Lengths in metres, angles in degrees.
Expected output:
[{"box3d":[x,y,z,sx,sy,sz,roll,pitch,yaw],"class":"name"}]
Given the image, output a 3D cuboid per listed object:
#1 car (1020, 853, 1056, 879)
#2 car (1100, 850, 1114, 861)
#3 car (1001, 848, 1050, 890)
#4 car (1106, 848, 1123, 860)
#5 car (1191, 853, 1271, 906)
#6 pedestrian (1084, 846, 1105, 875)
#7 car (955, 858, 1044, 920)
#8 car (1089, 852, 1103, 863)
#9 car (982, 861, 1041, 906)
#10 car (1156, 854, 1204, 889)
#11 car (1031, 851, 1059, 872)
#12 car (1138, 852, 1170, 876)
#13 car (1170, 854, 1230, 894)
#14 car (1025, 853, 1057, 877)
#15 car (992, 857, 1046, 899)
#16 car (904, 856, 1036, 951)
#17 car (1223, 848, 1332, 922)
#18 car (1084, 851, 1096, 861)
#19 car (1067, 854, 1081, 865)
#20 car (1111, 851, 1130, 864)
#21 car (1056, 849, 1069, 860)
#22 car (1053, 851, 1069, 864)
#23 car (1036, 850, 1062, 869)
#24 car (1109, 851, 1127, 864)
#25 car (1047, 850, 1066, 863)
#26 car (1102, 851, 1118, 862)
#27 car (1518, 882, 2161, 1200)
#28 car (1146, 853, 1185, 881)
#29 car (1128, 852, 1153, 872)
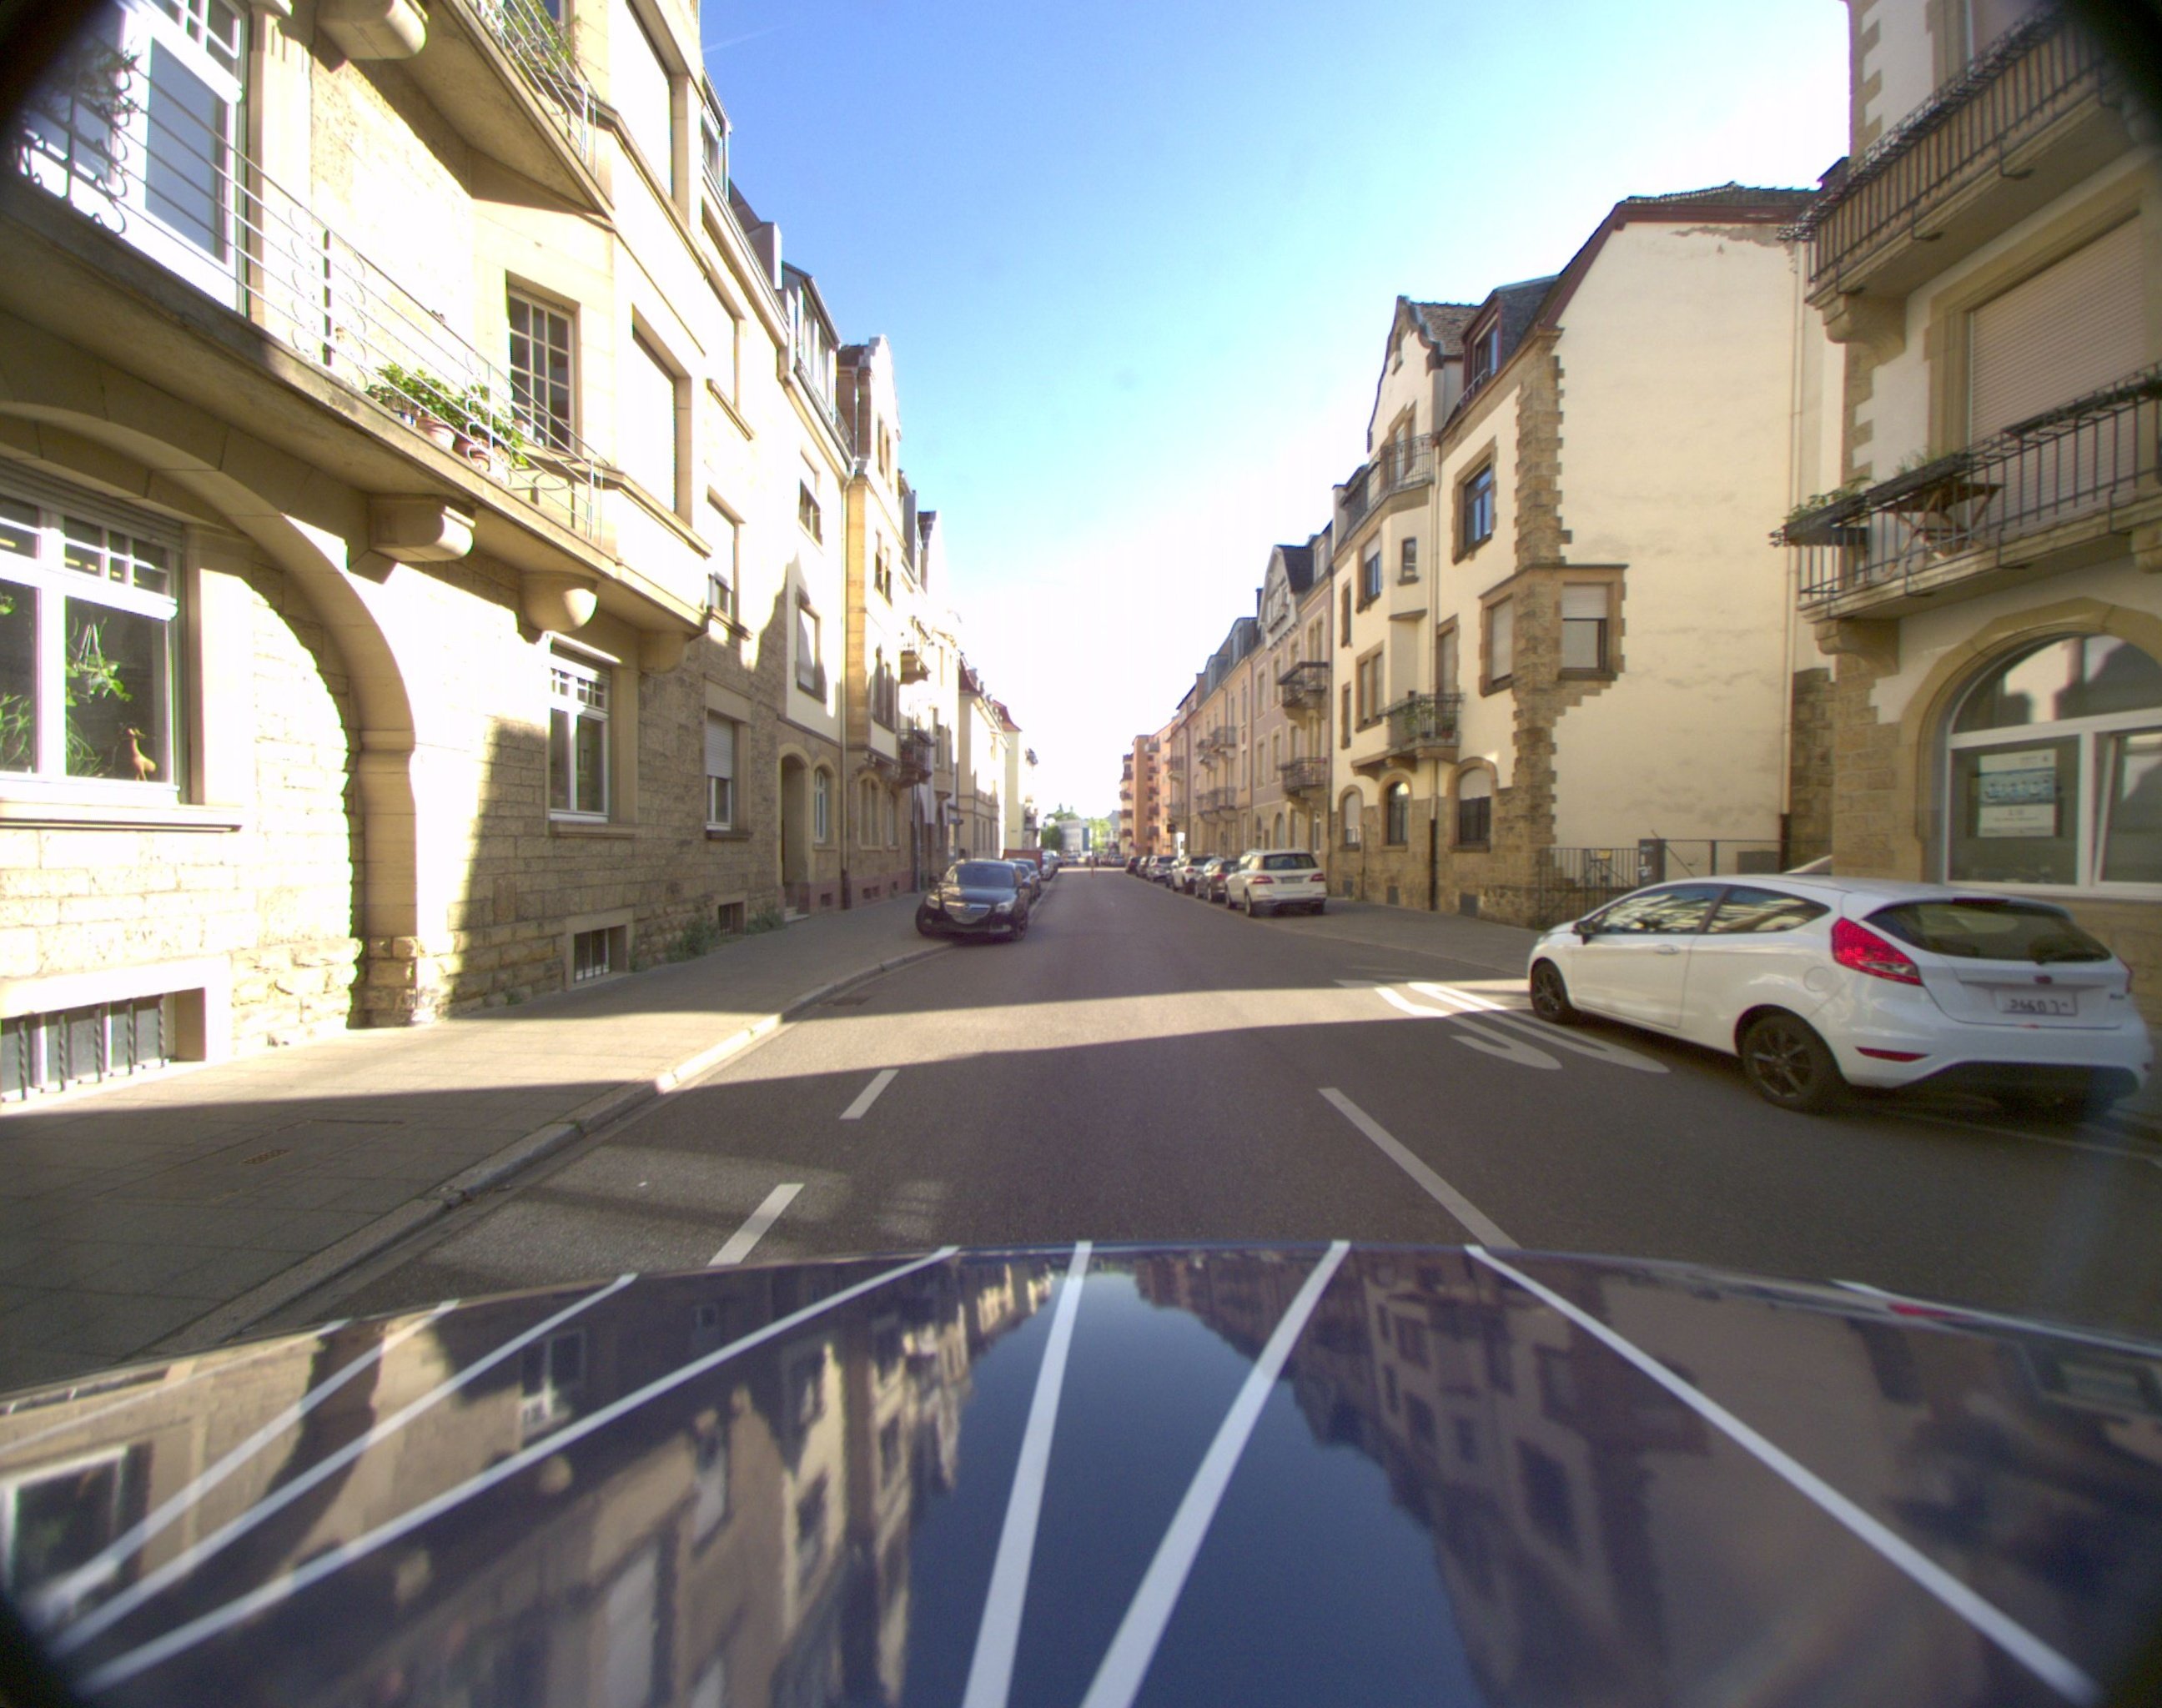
[{"box3d":[-2.653,0.719,47.852,2.005,1.500,4.320,1,1,-1],"class":"car"},{"box3d":[3.959,0.190,116.744,2.005,1.500,4.320,1,1,-1],"class":"car"},{"box3d":[-2.560,0.652,35.794,2.005,1.828,4.320,1,1,-1],"class":"car"},{"box3d":[4.518,0.005,101.942,2.005,1.500,4.320,1,1,-1],"class":"car"},{"box3d":[5.122,0.821,26.530,1.890,1.500,4.320,-4,1,1],"class":"car"},{"box3d":[0.948,0.466,53.547,0.950,2.002,1.068,-1,1,40],"class":"pedestrian"},{"box3d":[-2.098,0.875,20.784,2.005,1.499,4.321,1,0,-1],"class":"car"},{"box3d":[1.898,0.445,96.966,1.656,1.449,3.642,0,1,-1],"class":"car"},{"box3d":[-2.234,0.928,25.363,1.661,1.272,3.729,1,1,-1],"class":"car"},{"box3d":[4.855,0.818,37.791,1.857,1.491,4.318,-2,1,1],"class":"car"},{"box3d":[-2.745,0.538,58.651,2.005,1.500,4.320,1,1,-1],"class":"car"},{"box3d":[4.991,0.669,52.335,1.809,1.500,4.003,-2,1,1],"class":"car"},{"box3d":[4.984,0.795,32.351,1.890,1.500,4.320,-2,1,1],"class":"car"},{"box3d":[-2.749,0.739,52.626,2.005,1.500,4.320,1,1,-1],"class":"car"},{"box3d":[-2.385,0.892,30.105,1.824,1.415,4.320,1,1,-1],"class":"car"},{"box3d":[-2.037,0.867,15.203,2.024,1.500,4.111,2,1,-1],"class":"car"},{"box3d":[5.195,0.752,20.693,1.890,1.717,4.211,-2,1,1],"class":"car"},{"box3d":[1.295,0.323,113.048,1.656,1.449,3.642,0,1,-1],"class":"car"},{"box3d":[-0.998,0.836,110.987,2.005,1.500,4.320,1,1,-1],"class":"car"},{"box3d":[4.673,0.410,91.376,2.005,1.500,4.320,1,1,-1],"class":"car"},{"box3d":[-2.941,0.072,123.321,2.005,1.722,4.320,1,1,-1],"class":"car"},{"box3d":[-2.583,0.434,99.937,2.005,1.500,4.320,1,1,-1],"class":"car"},{"box3d":[-2.672,0.454,64.484,2.005,1.500,4.320,1,1,-1],"class":"car"},{"box3d":[4.623,0.394,96.191,2.005,1.500,4.320,1,1,-1],"class":"car"},{"box3d":[-2.844,0.269,88.964,2.005,1.500,4.320,1,1,-1],"class":"car"},{"box3d":[4.112,0.290,107.236,2.005,1.500,4.320,1,1,-1],"class":"car"},{"box3d":[5.110,1.015,5.654,1.656,1.449,3.643,2,0,2],"class":"car"},{"box3d":[5.021,0.734,45.817,1.890,1.500,4.320,-2,1,1],"class":"car"},{"box3d":[4.892,0.642,62.958,1.793,1.500,4.320,-2,1,1],"class":"car"}]
